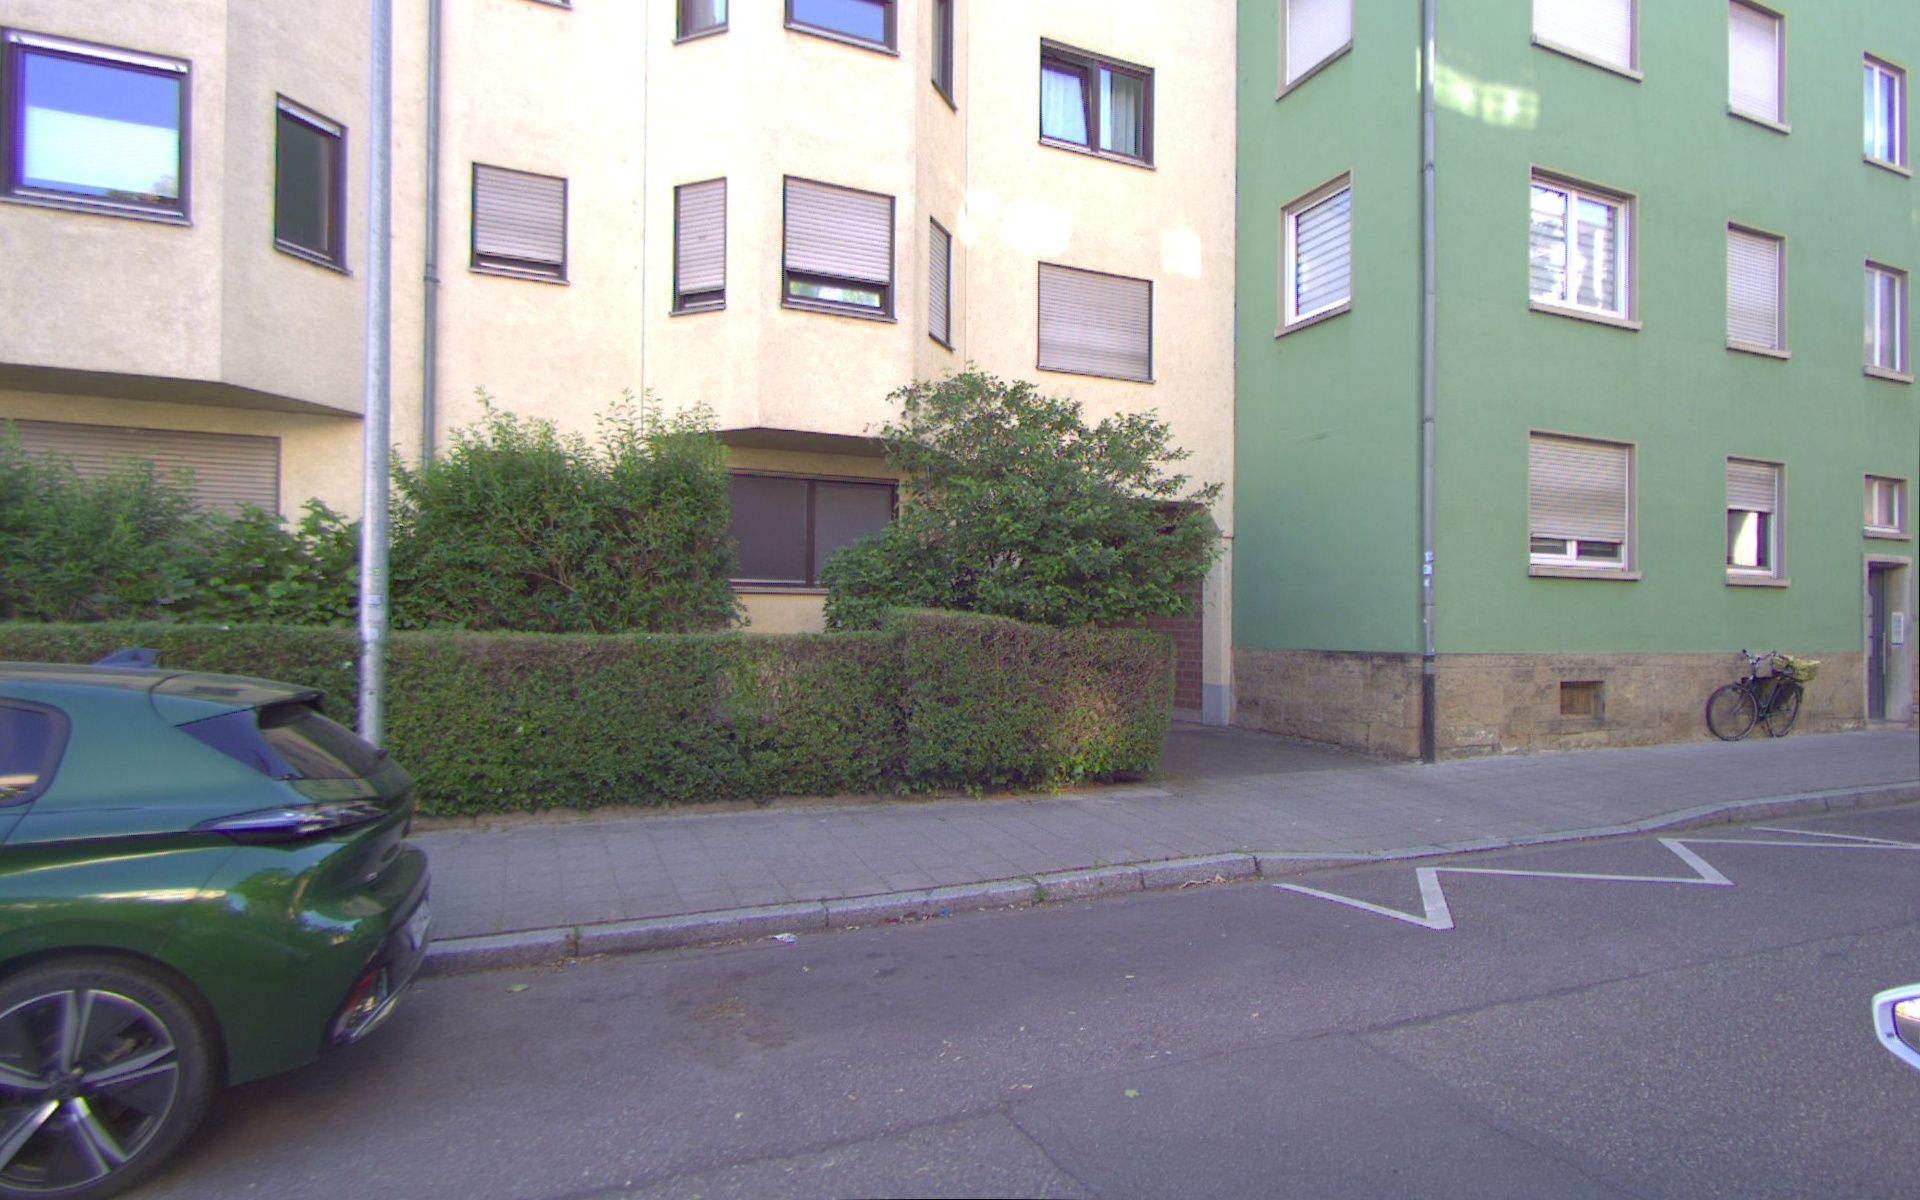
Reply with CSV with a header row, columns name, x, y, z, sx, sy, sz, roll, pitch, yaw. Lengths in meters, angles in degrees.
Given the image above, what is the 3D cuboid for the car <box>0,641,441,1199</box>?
name,x,y,z,sx,sy,sz,roll,pitch,yaw
car,-3.831,0.881,2.825,4.078,1.516,1.748,1,-3,-24

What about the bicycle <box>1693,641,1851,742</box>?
name,x,y,z,sx,sy,sz,roll,pitch,yaw
bicycle,10.456,1.143,12.919,2.246,1.194,0.549,1,2,-23
